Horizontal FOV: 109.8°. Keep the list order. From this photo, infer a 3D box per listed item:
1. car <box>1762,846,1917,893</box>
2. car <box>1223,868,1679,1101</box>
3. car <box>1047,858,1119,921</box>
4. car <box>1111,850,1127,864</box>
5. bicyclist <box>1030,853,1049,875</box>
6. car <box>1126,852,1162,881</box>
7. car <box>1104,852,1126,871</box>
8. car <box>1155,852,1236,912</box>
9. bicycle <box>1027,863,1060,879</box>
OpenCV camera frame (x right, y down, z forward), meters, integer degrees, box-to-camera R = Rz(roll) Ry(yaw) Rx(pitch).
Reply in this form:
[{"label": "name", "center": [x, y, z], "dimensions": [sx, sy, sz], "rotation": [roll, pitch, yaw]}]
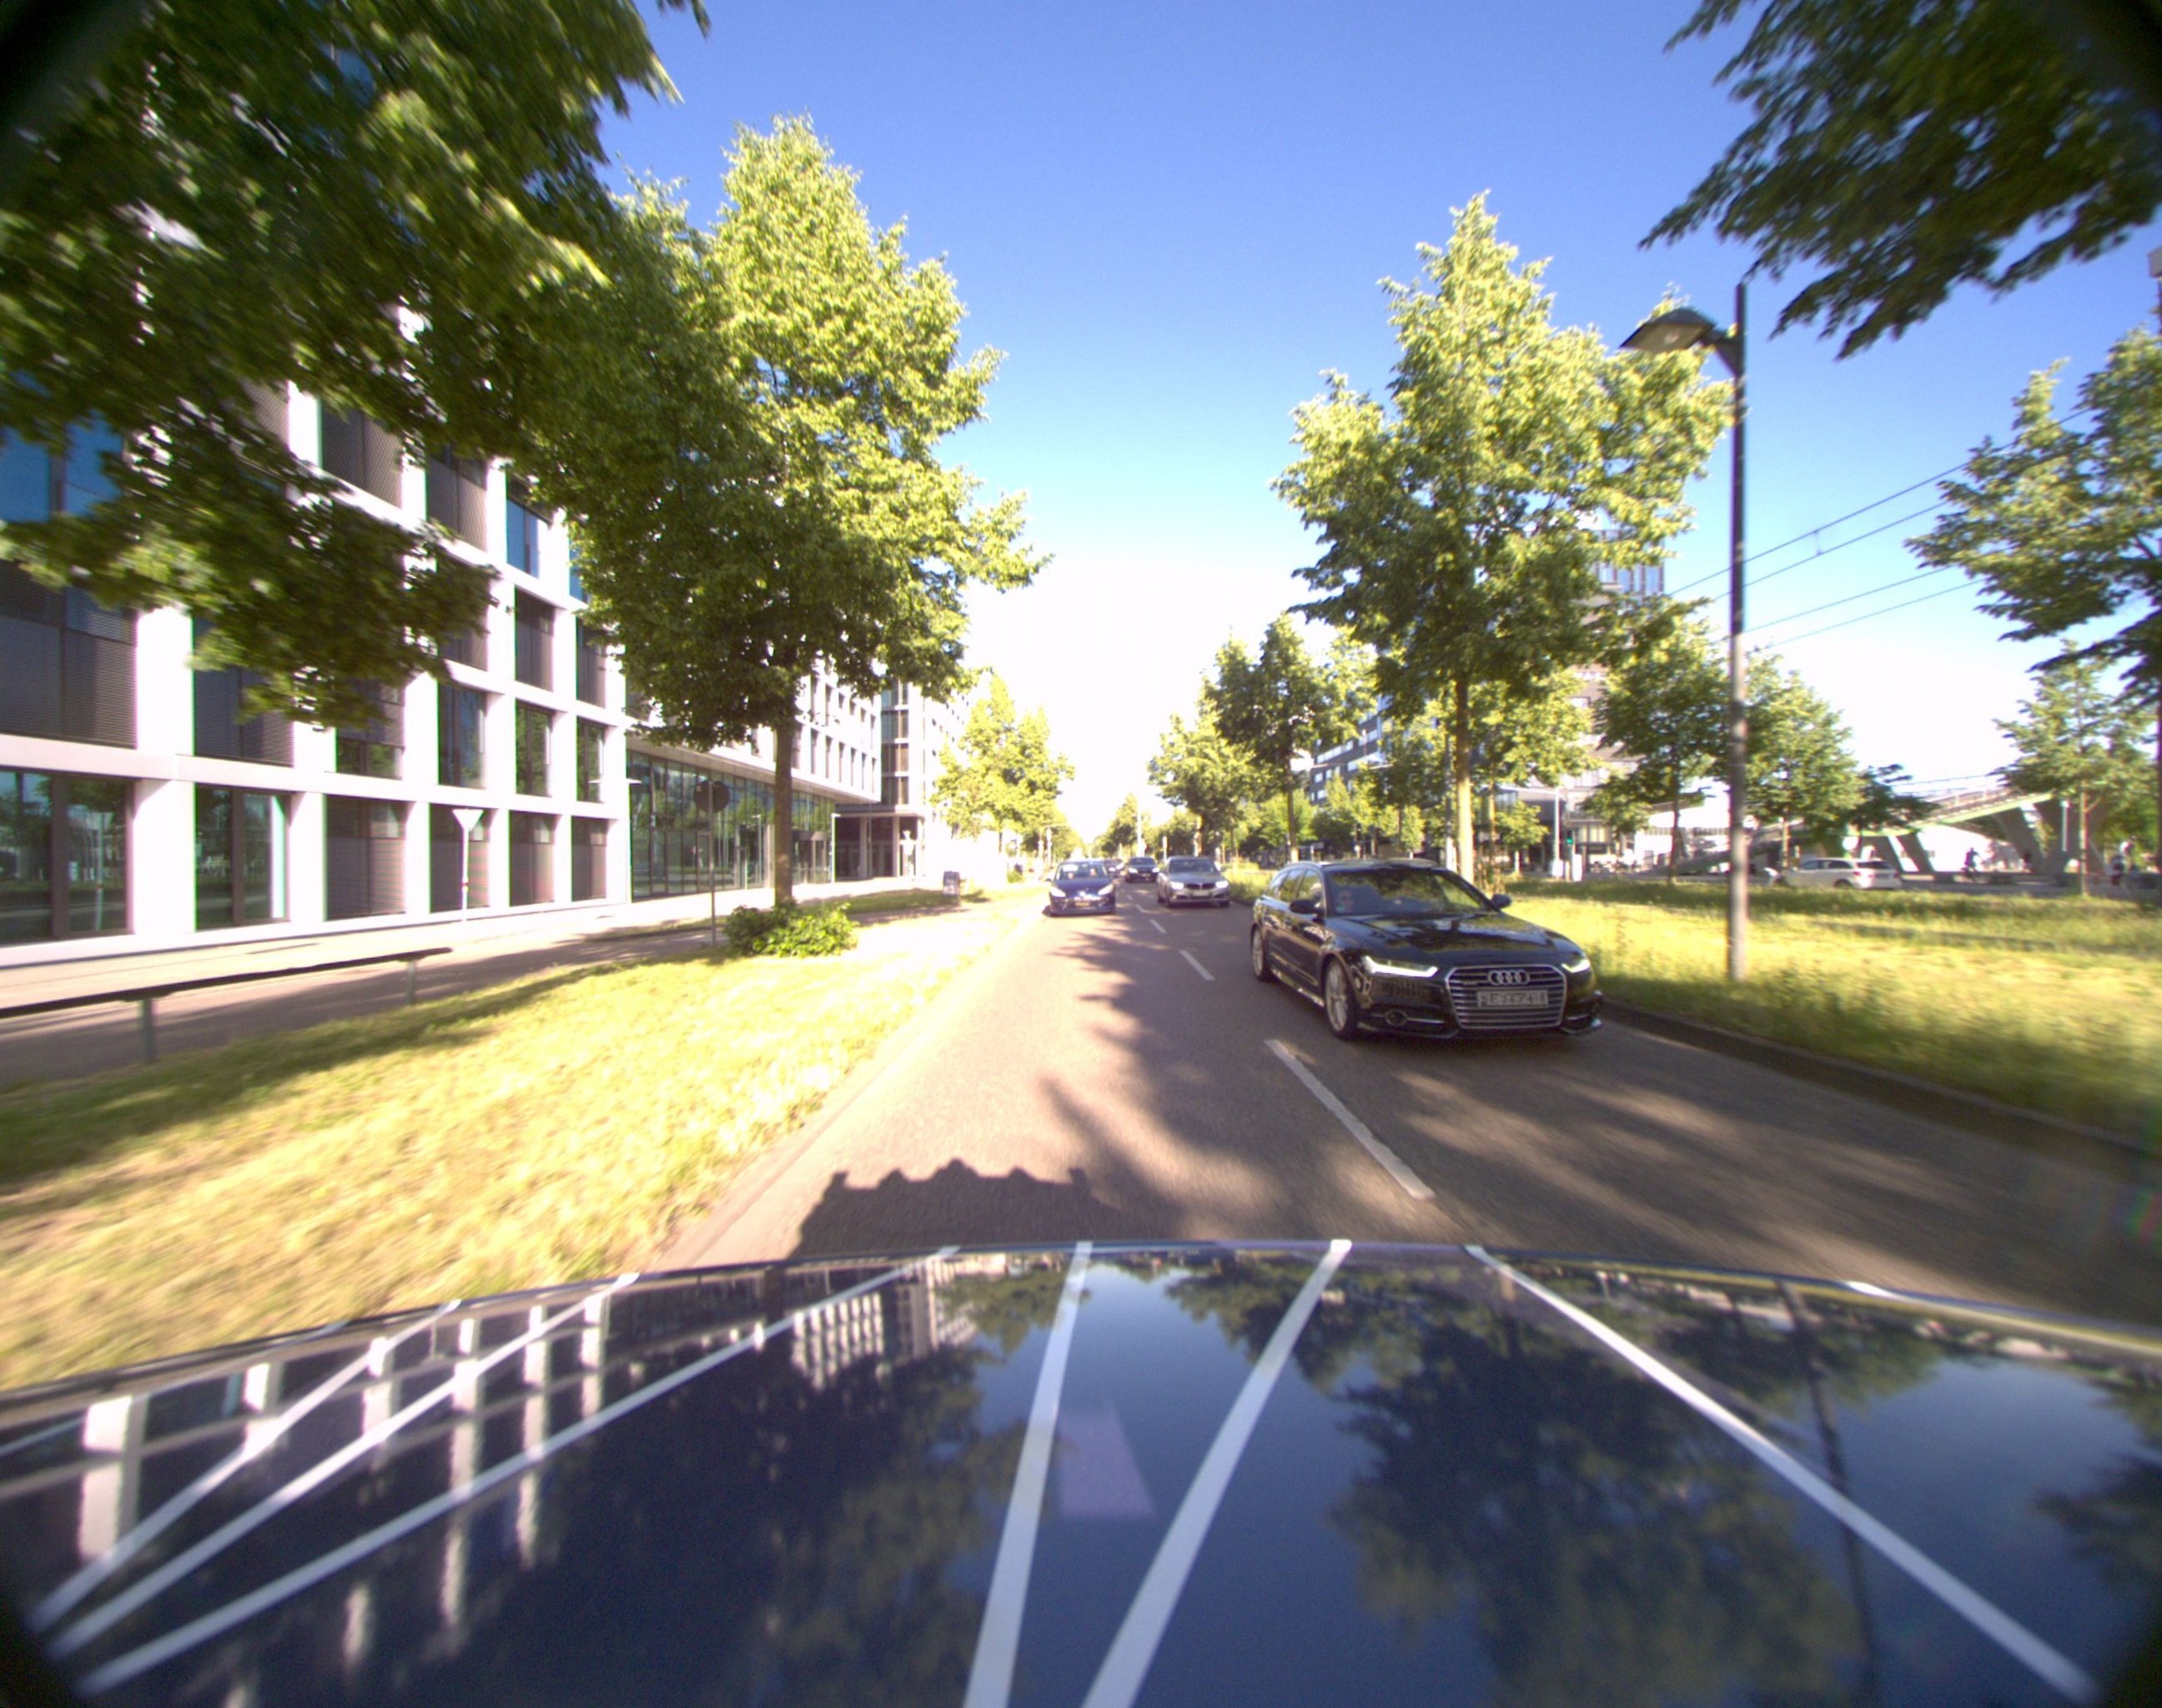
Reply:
[{"label": "car", "center": [32.026, 0.609, 32.299], "dimensions": [2.106, 1.798, 4.420], "rotation": [-2, 1, -1]}, {"label": "car", "center": [2.892, 0.897, 7.499], "dimensions": [1.958, 1.471, 5.085], "rotation": [-1, -1, -1]}, {"label": "car", "center": [0.125, 0.910, 21.153], "dimensions": [1.766, 1.462, 4.000], "rotation": [-2, 0, 2]}, {"label": "car", "center": [4.657, 0.357, 94.256], "dimensions": [1.782, 1.571, 3.783], "rotation": [-2, 1, 1]}, {"label": "bicyclist", "center": [-2.498, 0.590, 46.009], "dimensions": [1.086, 1.315, 0.639], "rotation": [0, 0, 4]}, {"label": "car", "center": [3.616, 0.710, 44.433], "dimensions": [1.950, 1.513, 4.000], "rotation": [-2, 0, 3]}, {"label": "car", "center": [3.072, 0.643, 69.167], "dimensions": [1.782, 1.571, 3.783], "rotation": [-2, 1, 1]}, {"label": "car", "center": [3.367, 0.778, 23.115], "dimensions": [1.886, 1.569, 4.277], "rotation": [-2, 0, 1]}, {"label": "bicycle", "center": [-2.273, 1.028, 45.994], "dimensions": [1.927, 0.899, 0.647], "rotation": [-1, 0, 4]}]
